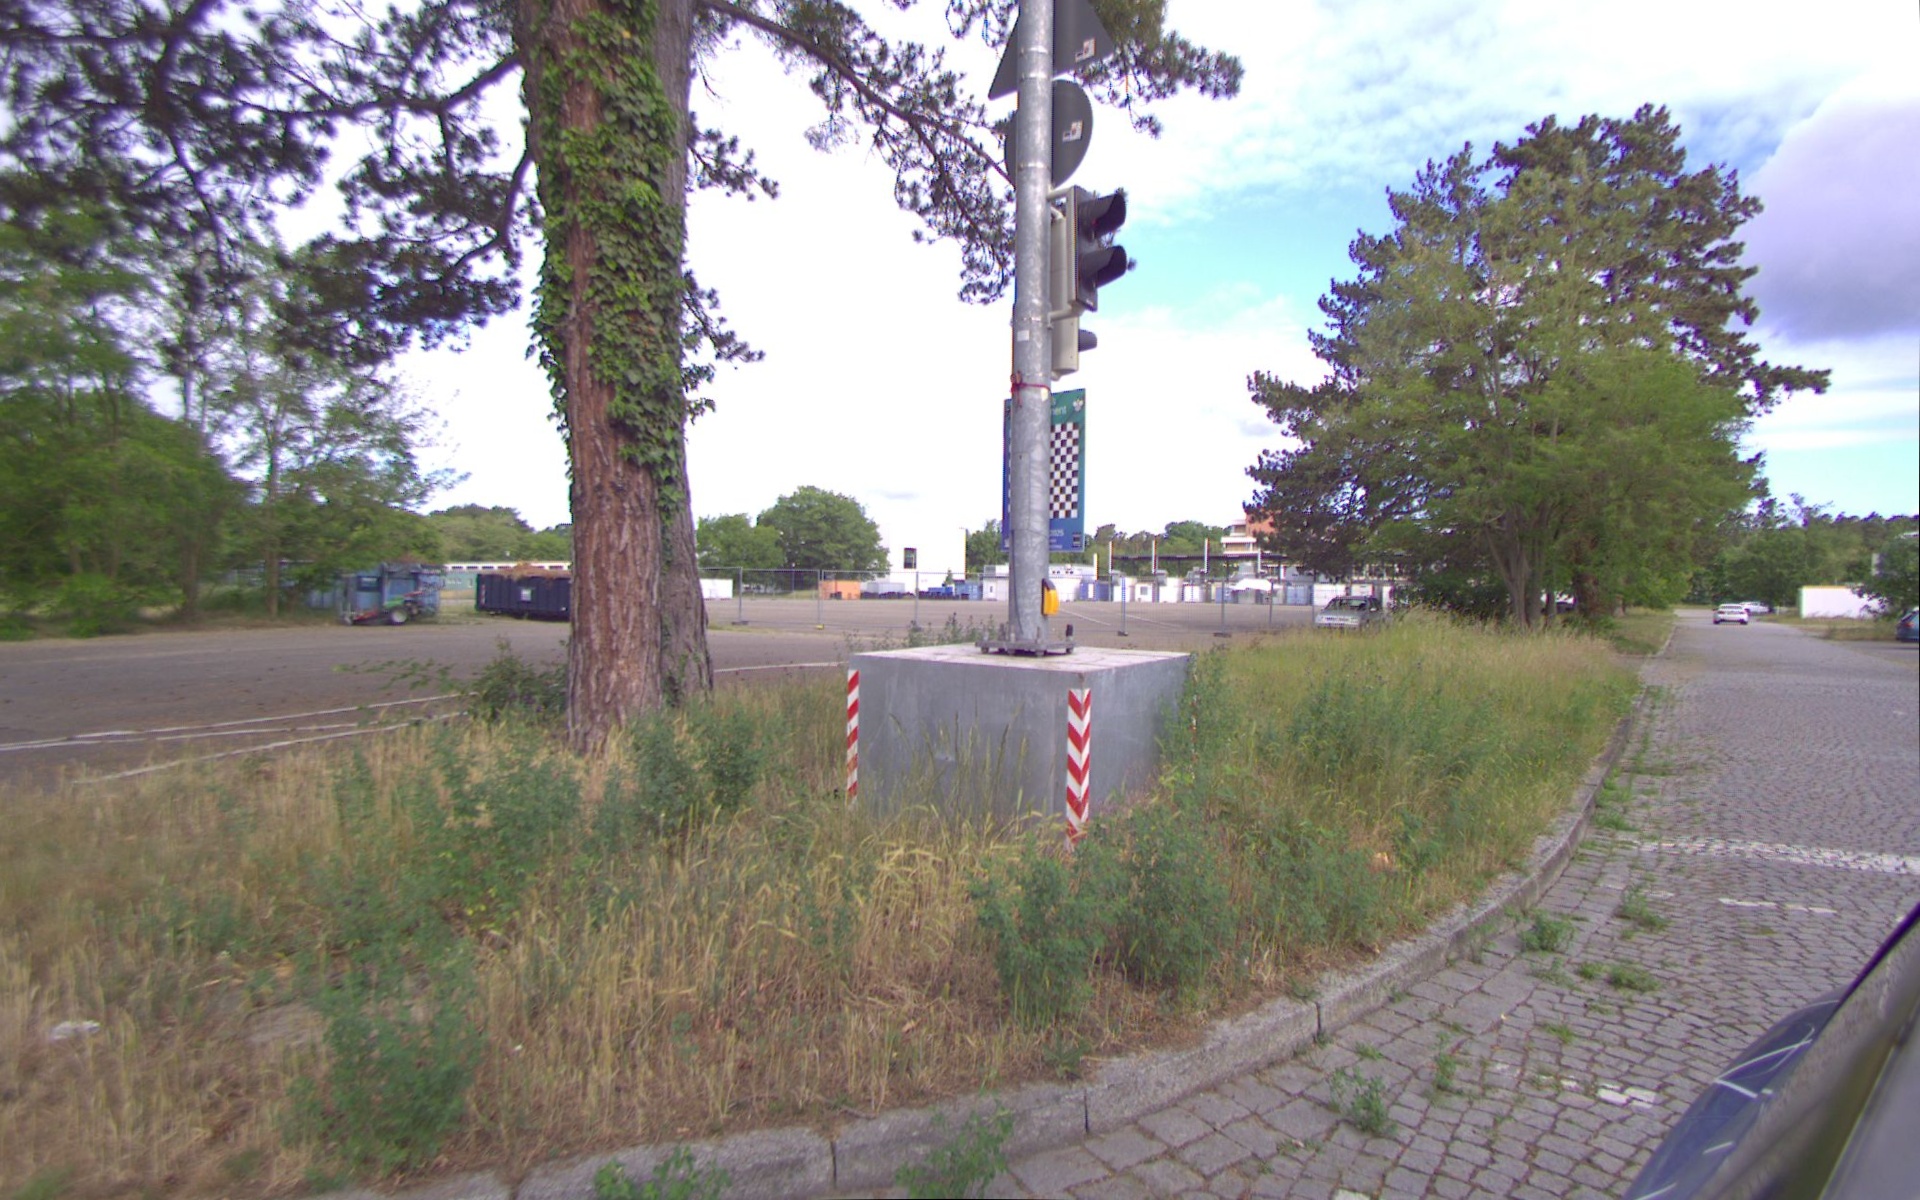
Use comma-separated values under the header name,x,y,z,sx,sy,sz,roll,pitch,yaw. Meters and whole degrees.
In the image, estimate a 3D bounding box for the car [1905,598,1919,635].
name,x,y,z,sx,sy,sz,roll,pitch,yaw
car,41.417,0.681,42.304,2.569,1.549,1.481,-1,-1,35

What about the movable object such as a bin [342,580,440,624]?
name,x,y,z,sx,sy,sz,roll,pitch,yaw
movable object such as a bin,-15.533,0.046,27.682,0.954,1.149,2.192,-1,0,27

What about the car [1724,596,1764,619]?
name,x,y,z,sx,sy,sz,roll,pitch,yaw
car,54.191,0.492,70.042,1.767,1.455,4.167,4,3,33

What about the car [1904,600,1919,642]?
name,x,y,z,sx,sy,sz,roll,pitch,yaw
car,37.137,0.733,36.422,4.399,1.488,1.613,-1,0,35

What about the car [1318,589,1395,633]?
name,x,y,z,sx,sy,sz,roll,pitch,yaw
car,14.181,0.342,36.038,1.668,1.469,4.435,1,1,34

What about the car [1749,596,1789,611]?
name,x,y,z,sx,sy,sz,roll,pitch,yaw
car,105.978,0.435,132.586,4.041,1.800,1.769,0,0,37
